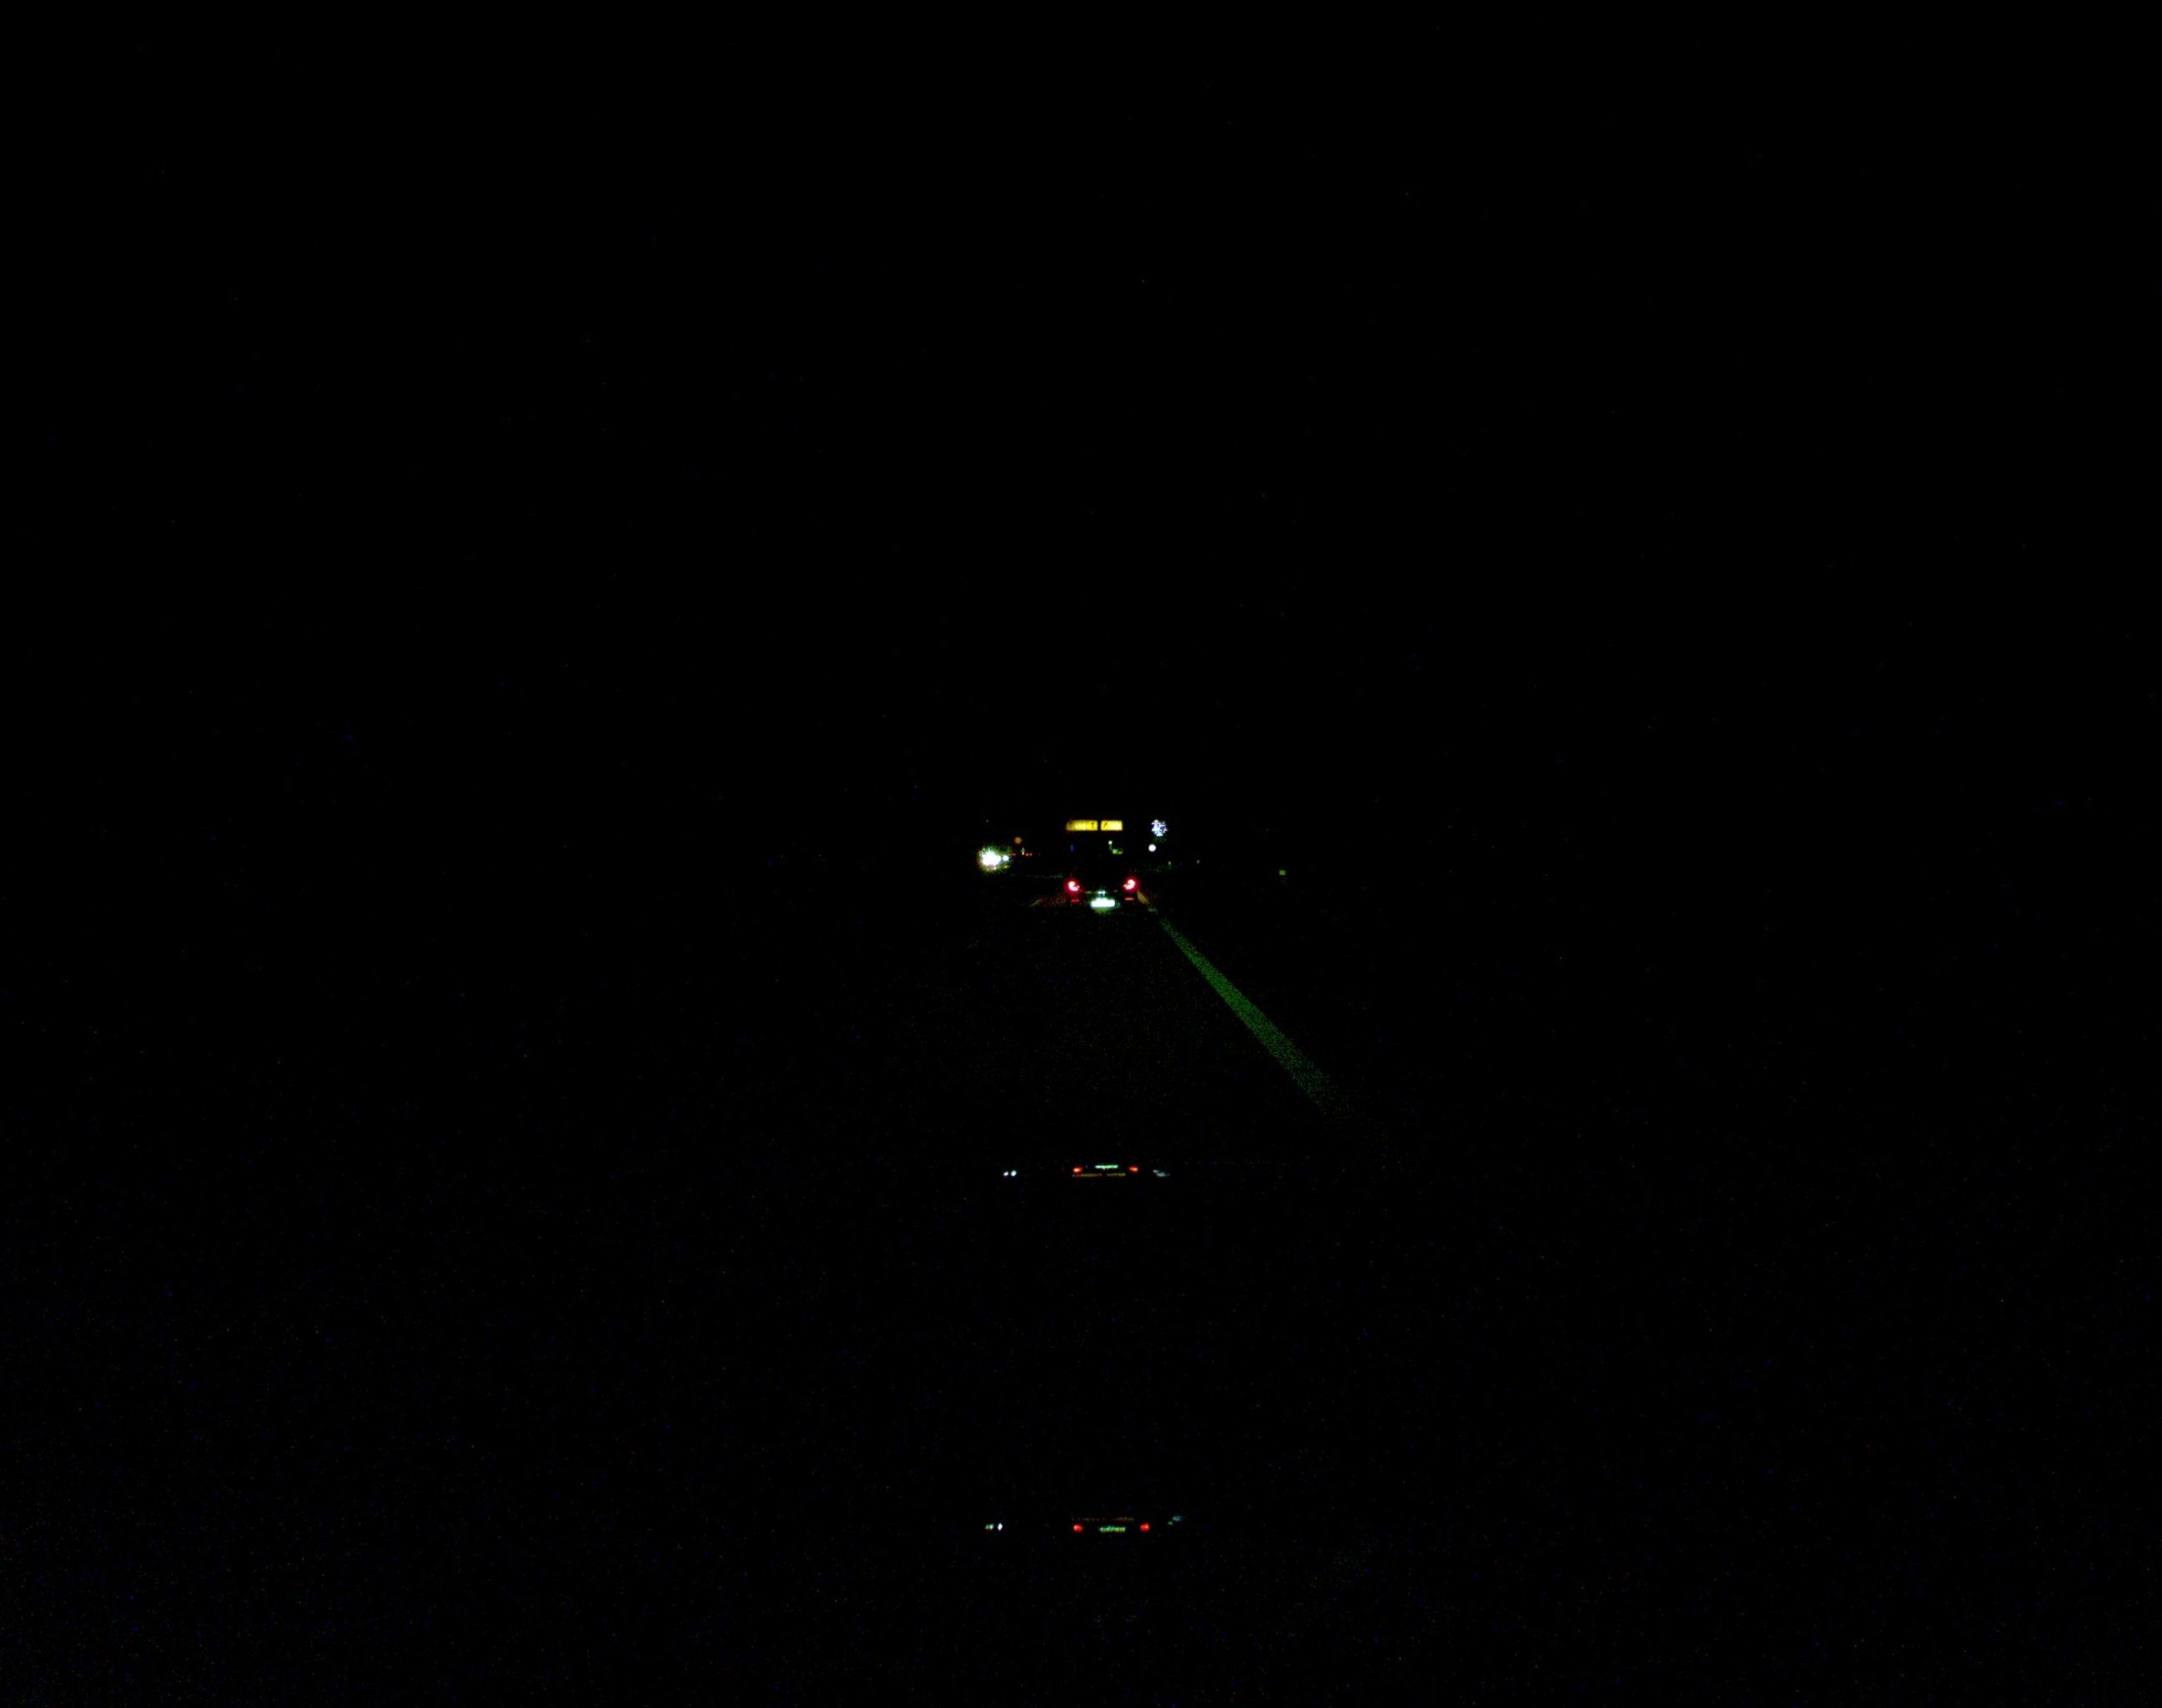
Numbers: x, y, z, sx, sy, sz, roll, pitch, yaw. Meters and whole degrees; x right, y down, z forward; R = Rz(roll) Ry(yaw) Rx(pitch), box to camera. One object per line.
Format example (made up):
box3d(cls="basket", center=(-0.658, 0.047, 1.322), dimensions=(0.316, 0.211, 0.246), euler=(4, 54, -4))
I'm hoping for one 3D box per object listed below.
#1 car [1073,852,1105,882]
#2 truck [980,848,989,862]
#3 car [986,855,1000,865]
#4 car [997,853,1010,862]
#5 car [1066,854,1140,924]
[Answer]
box3d(cls="car", center=(0.504, 0.781, 50.831), dimensions=(1.900, 1.698, 4.001), euler=(1, 0, 1))
box3d(cls="truck", center=(-30.914, 0.408, 260.332), dimensions=(2.625, 4.233, 8.568), euler=(2, 0, -9))
box3d(cls="car", center=(-13.882, 0.918, 129.193), dimensions=(1.722, 1.517, 4.158), euler=(-1, 0, 0))
box3d(cls="car", center=(-14.567, 0.622, 152.745), dimensions=(1.960, 1.763, 5.032), euler=(-1, 0, 0))
box3d(cls="car", center=(0.481, 0.763, 19.966), dimensions=(1.583, 1.508, 3.999), euler=(-1, 0, 0))
